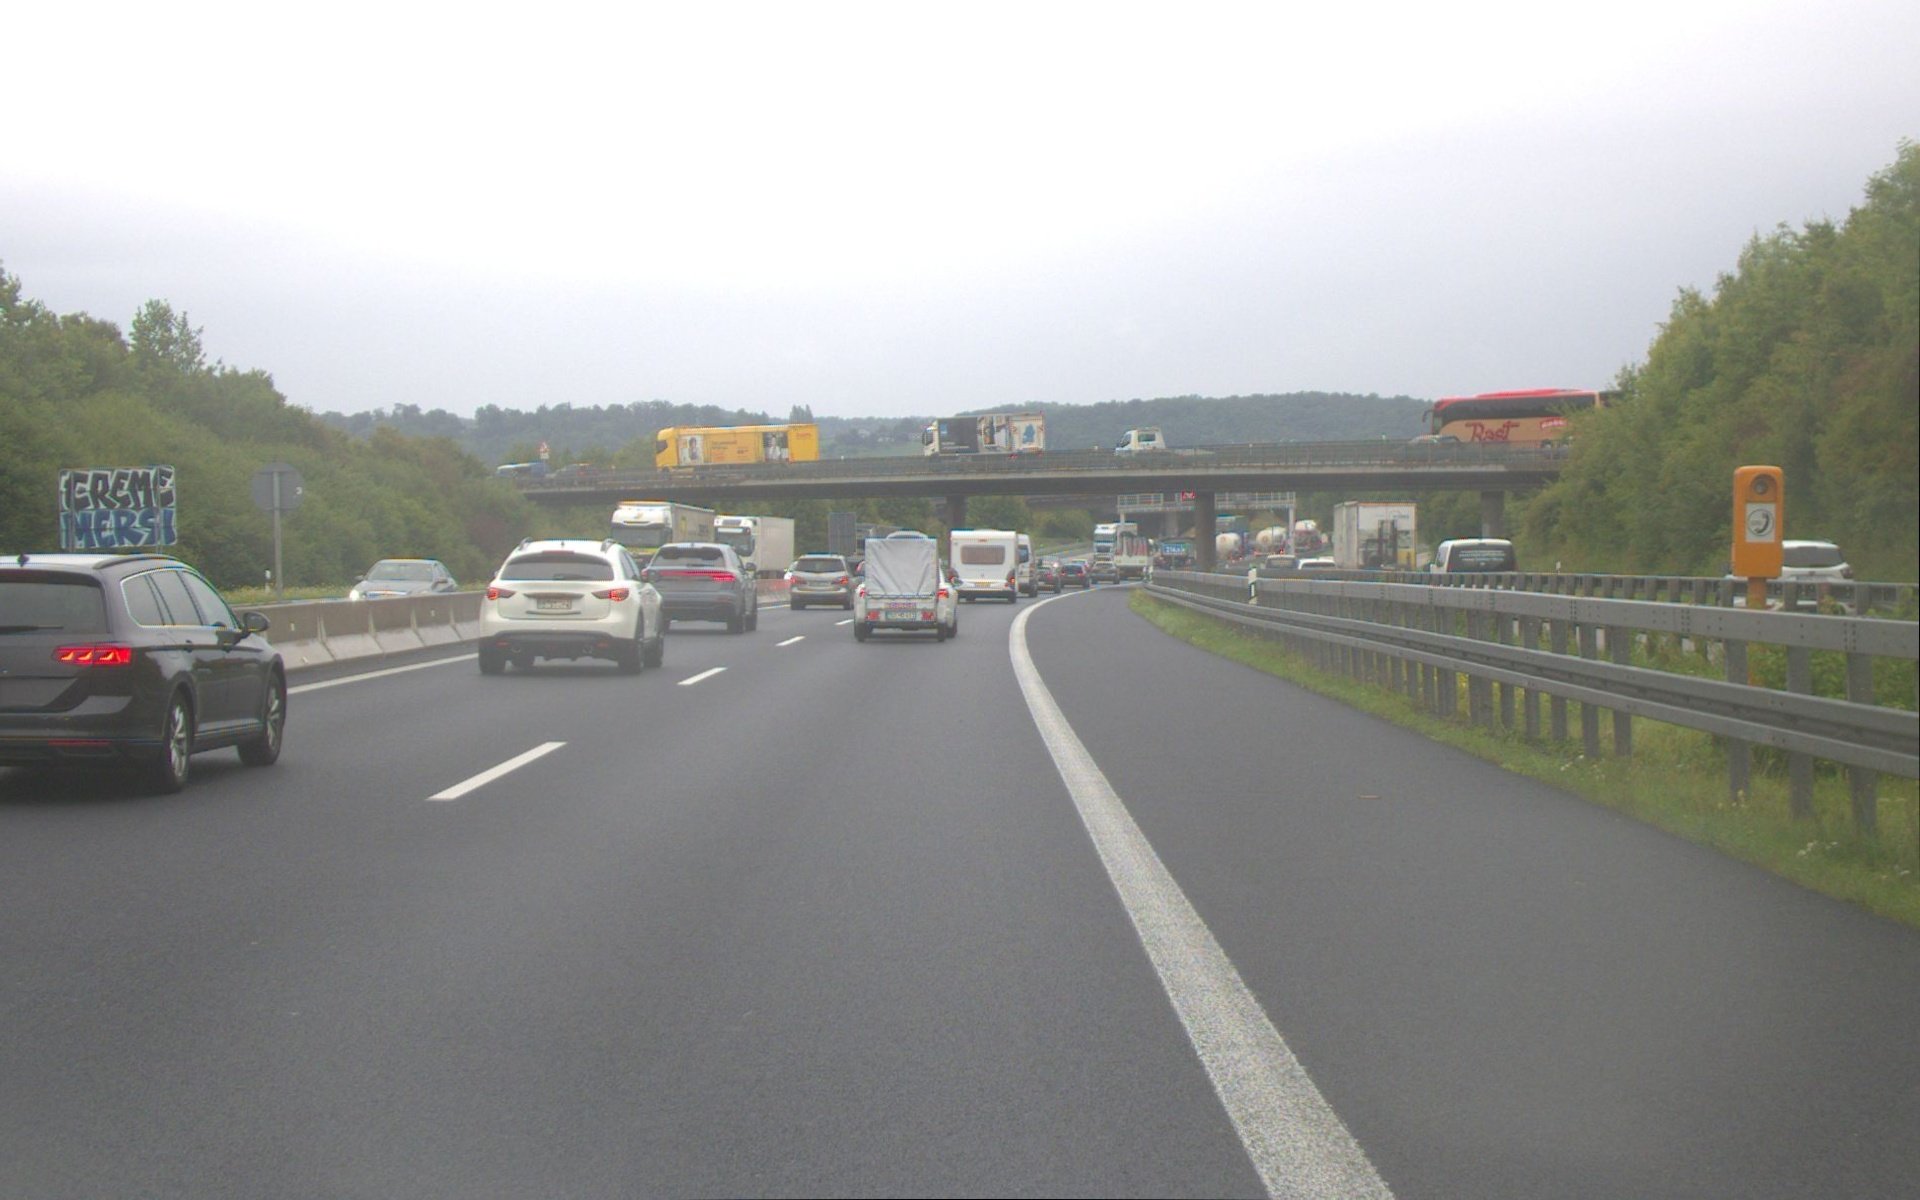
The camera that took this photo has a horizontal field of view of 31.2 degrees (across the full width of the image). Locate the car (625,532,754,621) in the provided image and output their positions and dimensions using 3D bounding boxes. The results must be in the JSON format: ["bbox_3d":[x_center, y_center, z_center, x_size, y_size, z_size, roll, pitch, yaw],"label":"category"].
[{"bbox_3d":[-5.123,-0.472,65.654,2.174,1.626,4.501,0,1,-1],"label":"car"}]

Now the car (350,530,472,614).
[{"bbox_3d":[-12.315,-0.645,77.383,1.993,1.807,4.173,1,1,1],"label":"car"}]

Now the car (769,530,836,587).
[{"bbox_3d":[-4.549,-1.209,99.727,1.900,1.607,4.017,0,1,-2],"label":"car"}]

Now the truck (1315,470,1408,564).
[{"bbox_3d":[18.764,-3.898,161.382,3.437,4.274,10.418,0,1,2],"label":"truck"}]

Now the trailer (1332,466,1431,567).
[{"bbox_3d":[18.446,-3.667,150.942,3.437,4.274,10.454,0,1,2],"label":"trailer"}]

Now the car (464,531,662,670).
[{"bbox_3d":[-4.876,-0.040,42.826,1.976,1.633,4.501,0,1,0],"label":"car"}]

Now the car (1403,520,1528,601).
[{"bbox_3d":[11.581,-0.931,79.014,2.007,1.808,4.277,0,1,-3],"label":"car"}]

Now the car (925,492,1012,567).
[{"bbox_3d":[0.337,-2.531,122.765,3.017,2.607,6.075,0,1,1],"label":"car"}]

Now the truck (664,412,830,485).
[{"bbox_3d":[-15.258,-10.704,244.507,3.767,4.819,15.241,-1,1,-38],"label":"truck"}]

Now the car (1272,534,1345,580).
[{"bbox_3d":[12.112,-1.508,119.675,2.007,1.543,4.696,0,1,-1],"label":"car"}]

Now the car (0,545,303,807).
[{"bbox_3d":[-5.583,0.410,22.061,1.900,1.492,4.852,0,1,-1],"label":"car"}]

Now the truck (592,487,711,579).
[{"bbox_3d":[-13.848,-3.023,155.565,3.766,3.978,13.186,0,1,2],"label":"truck"}]

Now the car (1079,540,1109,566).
[{"bbox_3d":[9.298,-3.250,238.830,1.993,1.744,4.000,1,1,1],"label":"car"}]

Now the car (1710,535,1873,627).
[{"bbox_3d":[14.932,-0.371,61.935,1.896,1.607,4.146,0,1,-1],"label":"car"}]

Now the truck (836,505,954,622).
[{"bbox_3d":[-1.134,-0.699,62.311,2.019,1.978,7.213,0,1,0],"label":"truck"}]

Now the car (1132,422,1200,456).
[{"bbox_3d":[12.422,-9.694,207.583,1.838,1.908,3.999,0,1,-39],"label":"car"}]

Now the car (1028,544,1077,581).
[{"bbox_3d":[4.486,-1.813,167.217,1.993,1.744,4.001,1,1,-4],"label":"car"}]

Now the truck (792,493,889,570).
[{"bbox_3d":[-5.640,-3.286,165.205,3.766,3.542,13.186,0,1,2],"label":"truck"}]

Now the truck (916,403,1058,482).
[{"bbox_3d":[1.699,-10.153,222.540,3.767,4.819,10.041,-1,1,-38],"label":"truck"}]

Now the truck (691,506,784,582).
[{"bbox_3d":[-12.019,-3.071,187.234,3.766,3.978,13.186,0,1,2],"label":"truck"}]

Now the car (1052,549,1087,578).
[{"bbox_3d":[6.565,-2.195,206.554,1.993,1.744,4.000,1,1,0],"label":"car"}]
